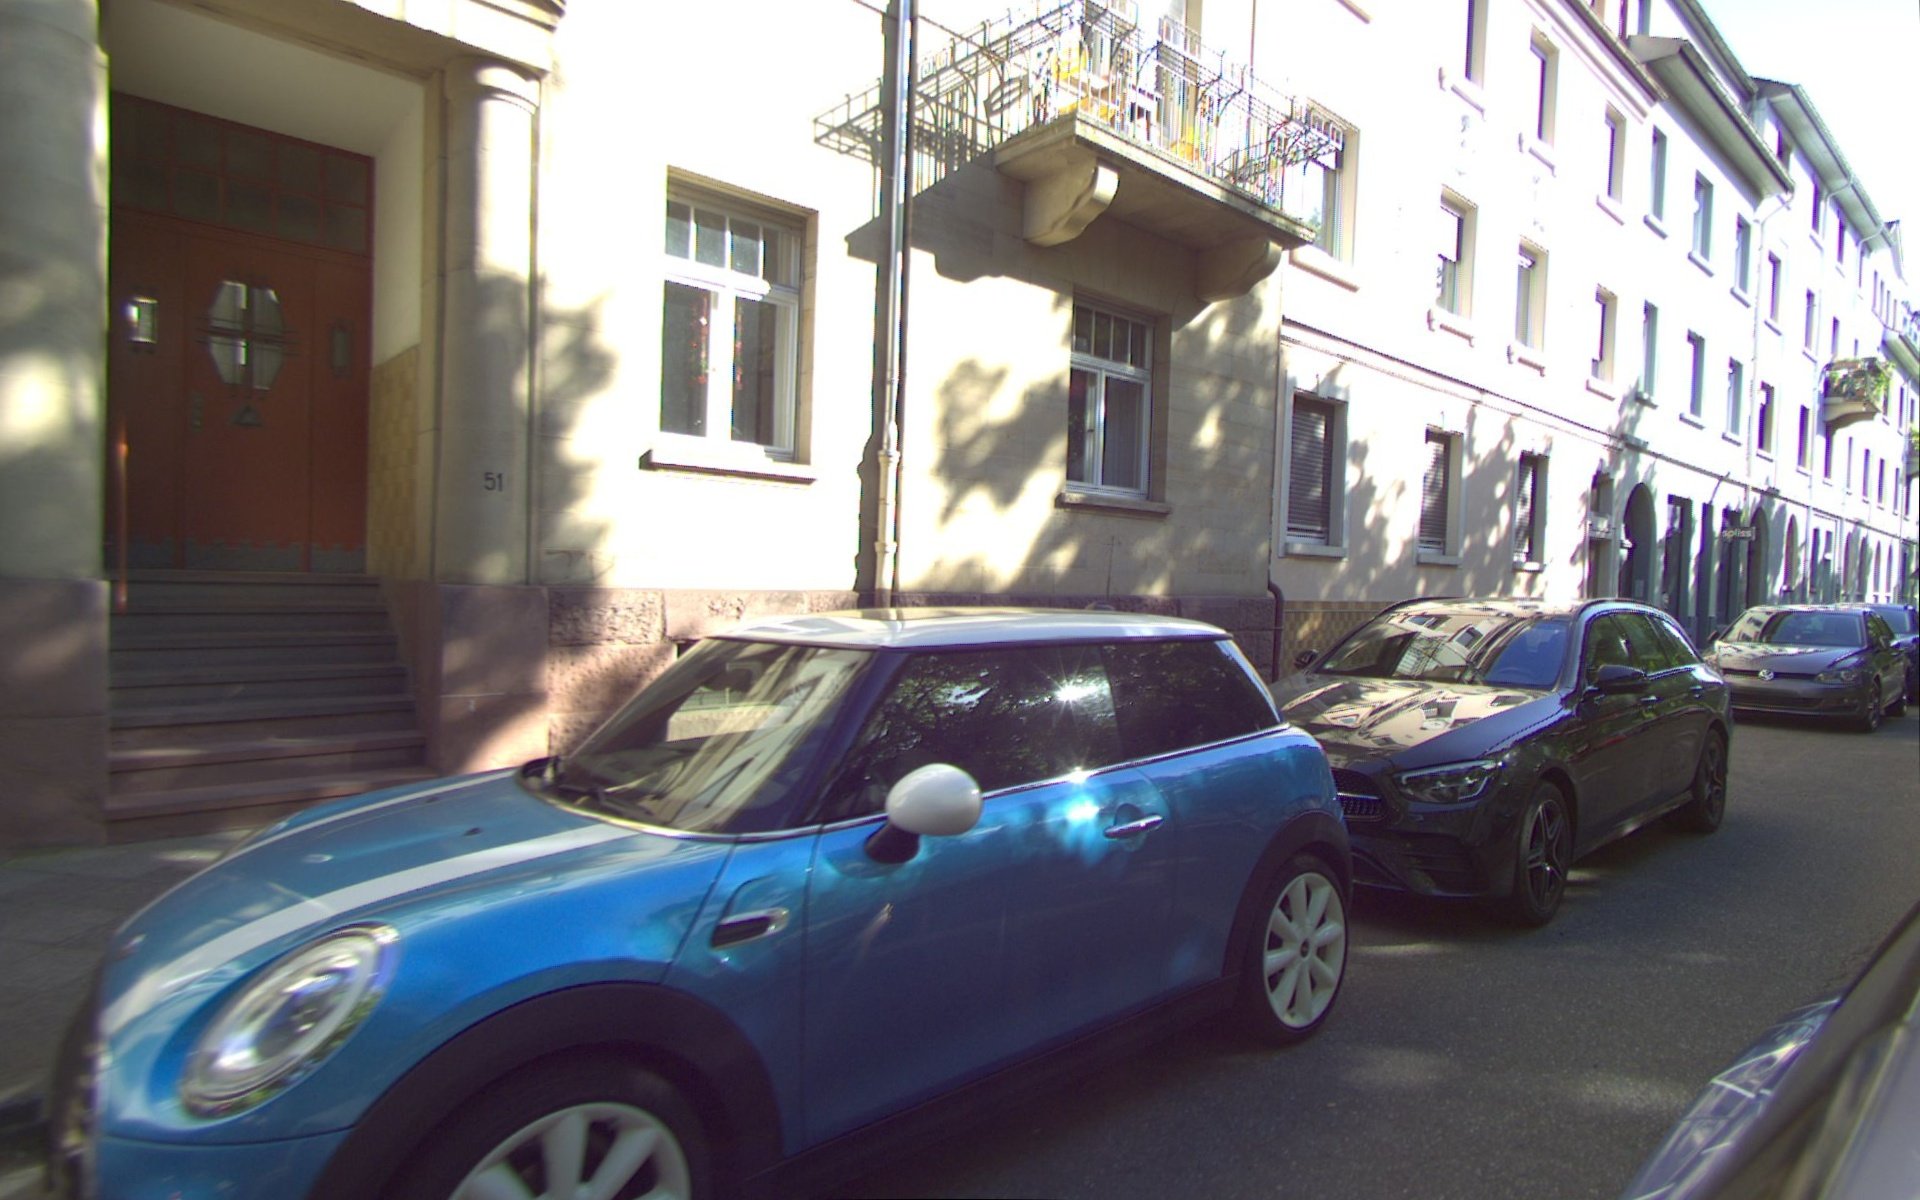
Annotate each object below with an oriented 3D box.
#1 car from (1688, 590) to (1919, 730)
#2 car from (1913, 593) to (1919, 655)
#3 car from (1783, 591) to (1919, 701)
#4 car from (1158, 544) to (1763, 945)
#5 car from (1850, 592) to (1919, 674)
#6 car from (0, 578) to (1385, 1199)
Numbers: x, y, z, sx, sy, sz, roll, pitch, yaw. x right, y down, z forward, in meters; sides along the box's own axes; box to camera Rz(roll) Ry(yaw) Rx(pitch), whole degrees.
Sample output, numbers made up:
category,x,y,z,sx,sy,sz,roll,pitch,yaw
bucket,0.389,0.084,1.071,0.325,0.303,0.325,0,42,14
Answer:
category,x,y,z,sx,sy,sz,roll,pitch,yaw
car,10.839,0.640,12.859,3.934,1.486,1.695,0,1,-41
car,26.183,0.633,26.261,3.969,1.570,1.584,0,2,-39
car,14.978,0.665,16.506,4.111,1.571,1.770,0,0,-41
car,3.262,0.549,6.160,4.246,1.582,1.808,0,3,-42
car,18.834,0.610,19.623,4.215,1.449,1.773,0,2,-40
car,-0.384,0.677,3.047,3.567,1.433,1.593,0,1,-39
